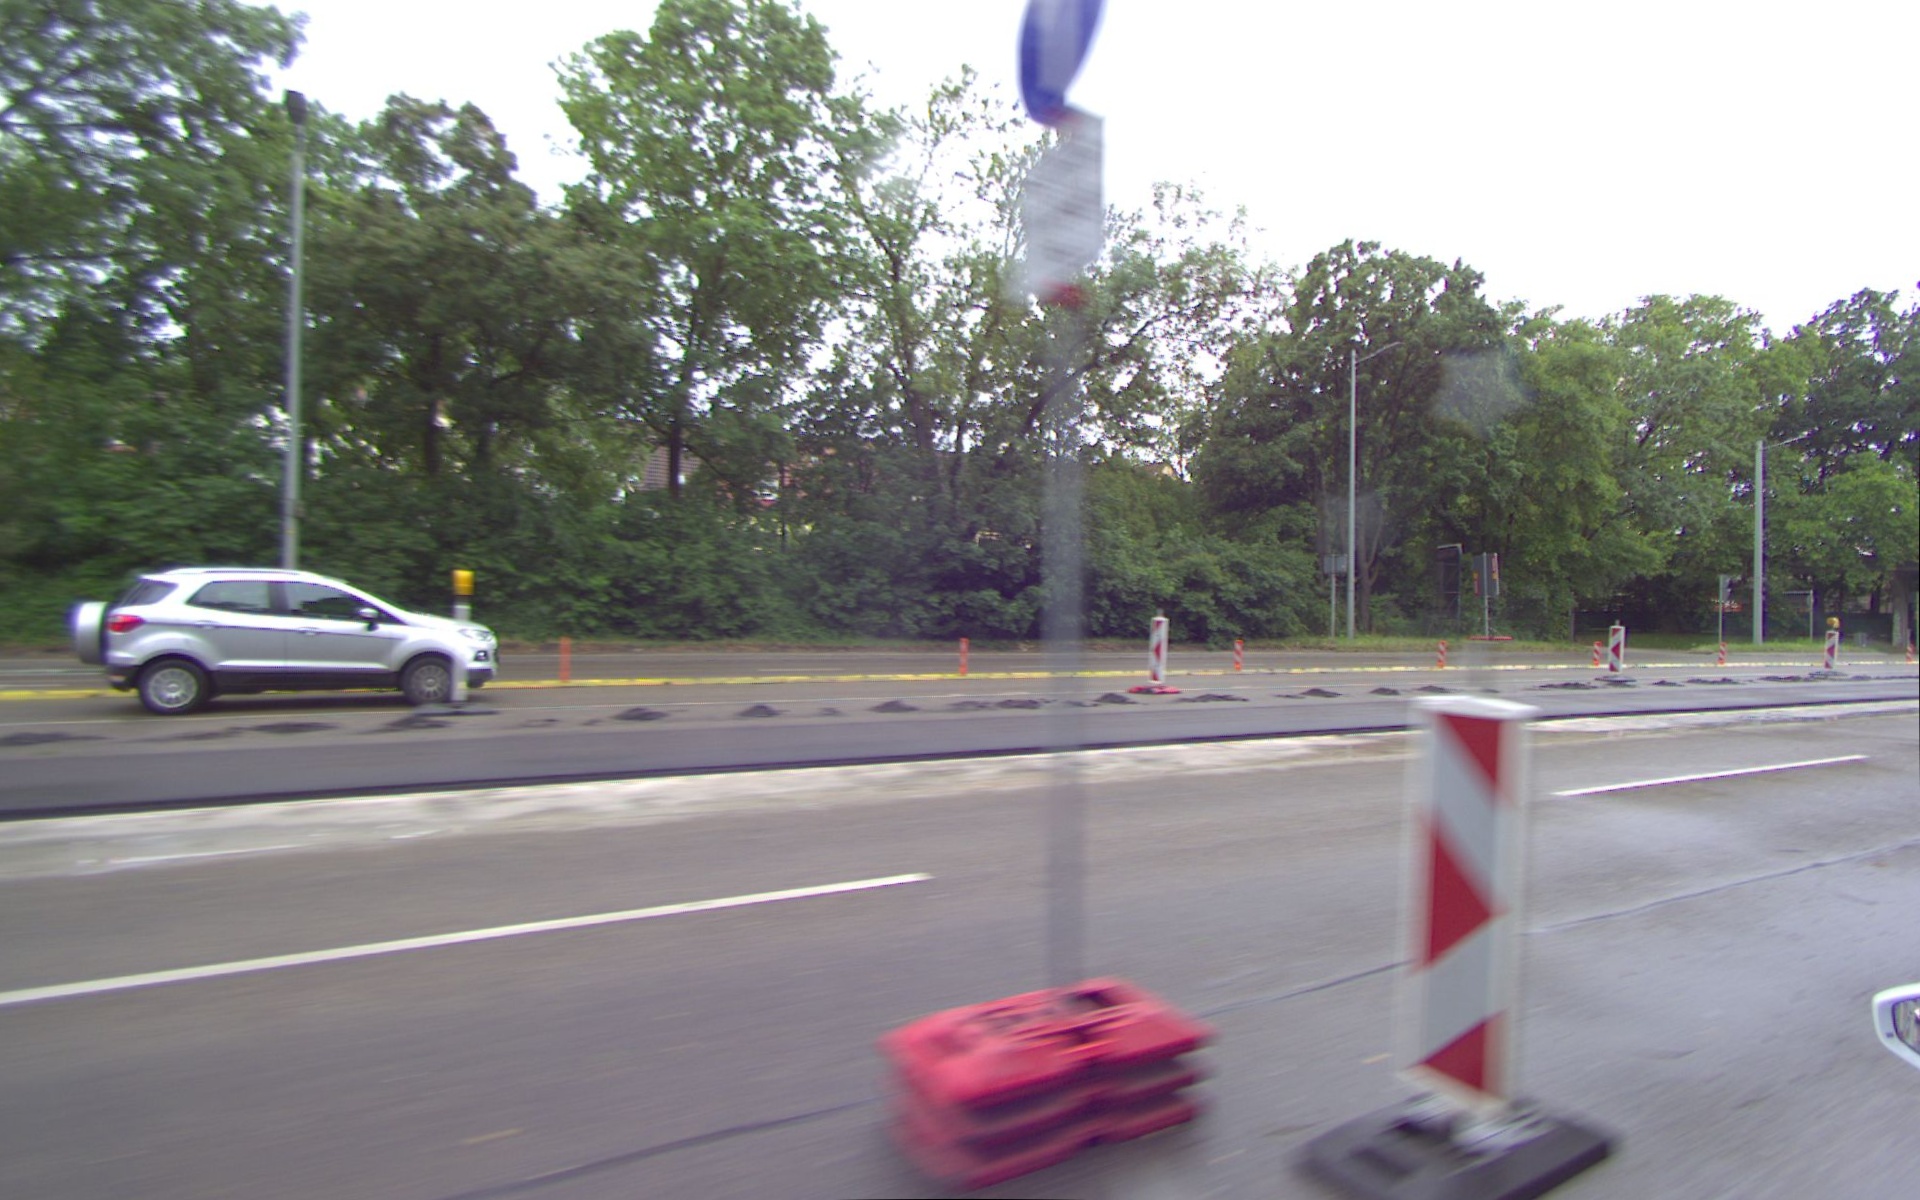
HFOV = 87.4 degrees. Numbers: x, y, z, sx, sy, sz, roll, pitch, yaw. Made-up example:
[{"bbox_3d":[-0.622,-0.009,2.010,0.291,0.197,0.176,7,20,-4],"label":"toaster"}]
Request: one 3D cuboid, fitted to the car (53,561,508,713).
[{"bbox_3d":[-7.957,0.409,12.307,4.309,1.585,1.881,1,1,-28],"label":"car"}]
